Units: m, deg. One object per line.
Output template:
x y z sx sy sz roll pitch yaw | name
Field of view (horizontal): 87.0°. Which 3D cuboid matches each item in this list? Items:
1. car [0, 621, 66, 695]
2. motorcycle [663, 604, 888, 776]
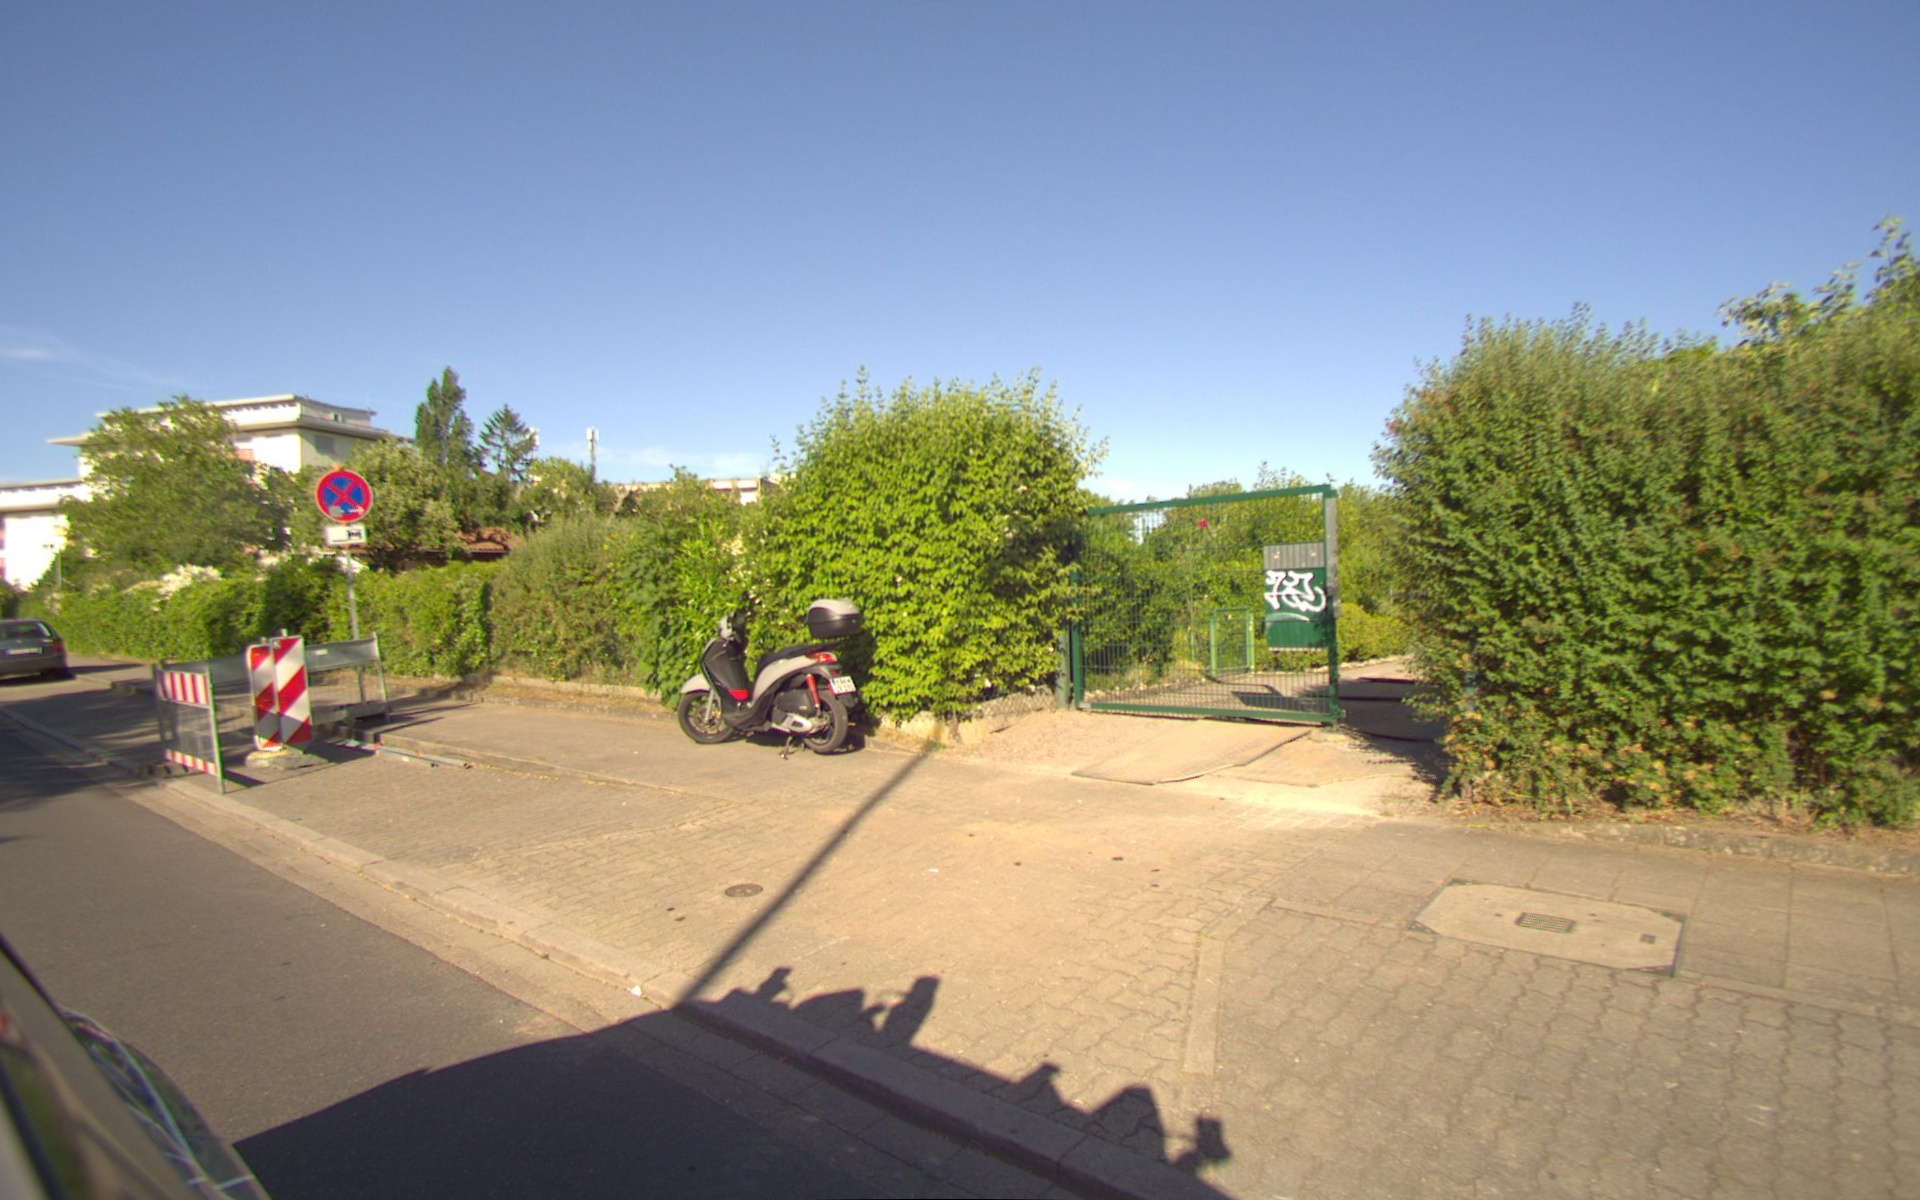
-22.265 1.302 23.545 4.415 1.568 1.626 -1 0 41 | car
-1.594 0.691 8.495 2.087 1.277 0.561 -1 2 37 | motorcycle
